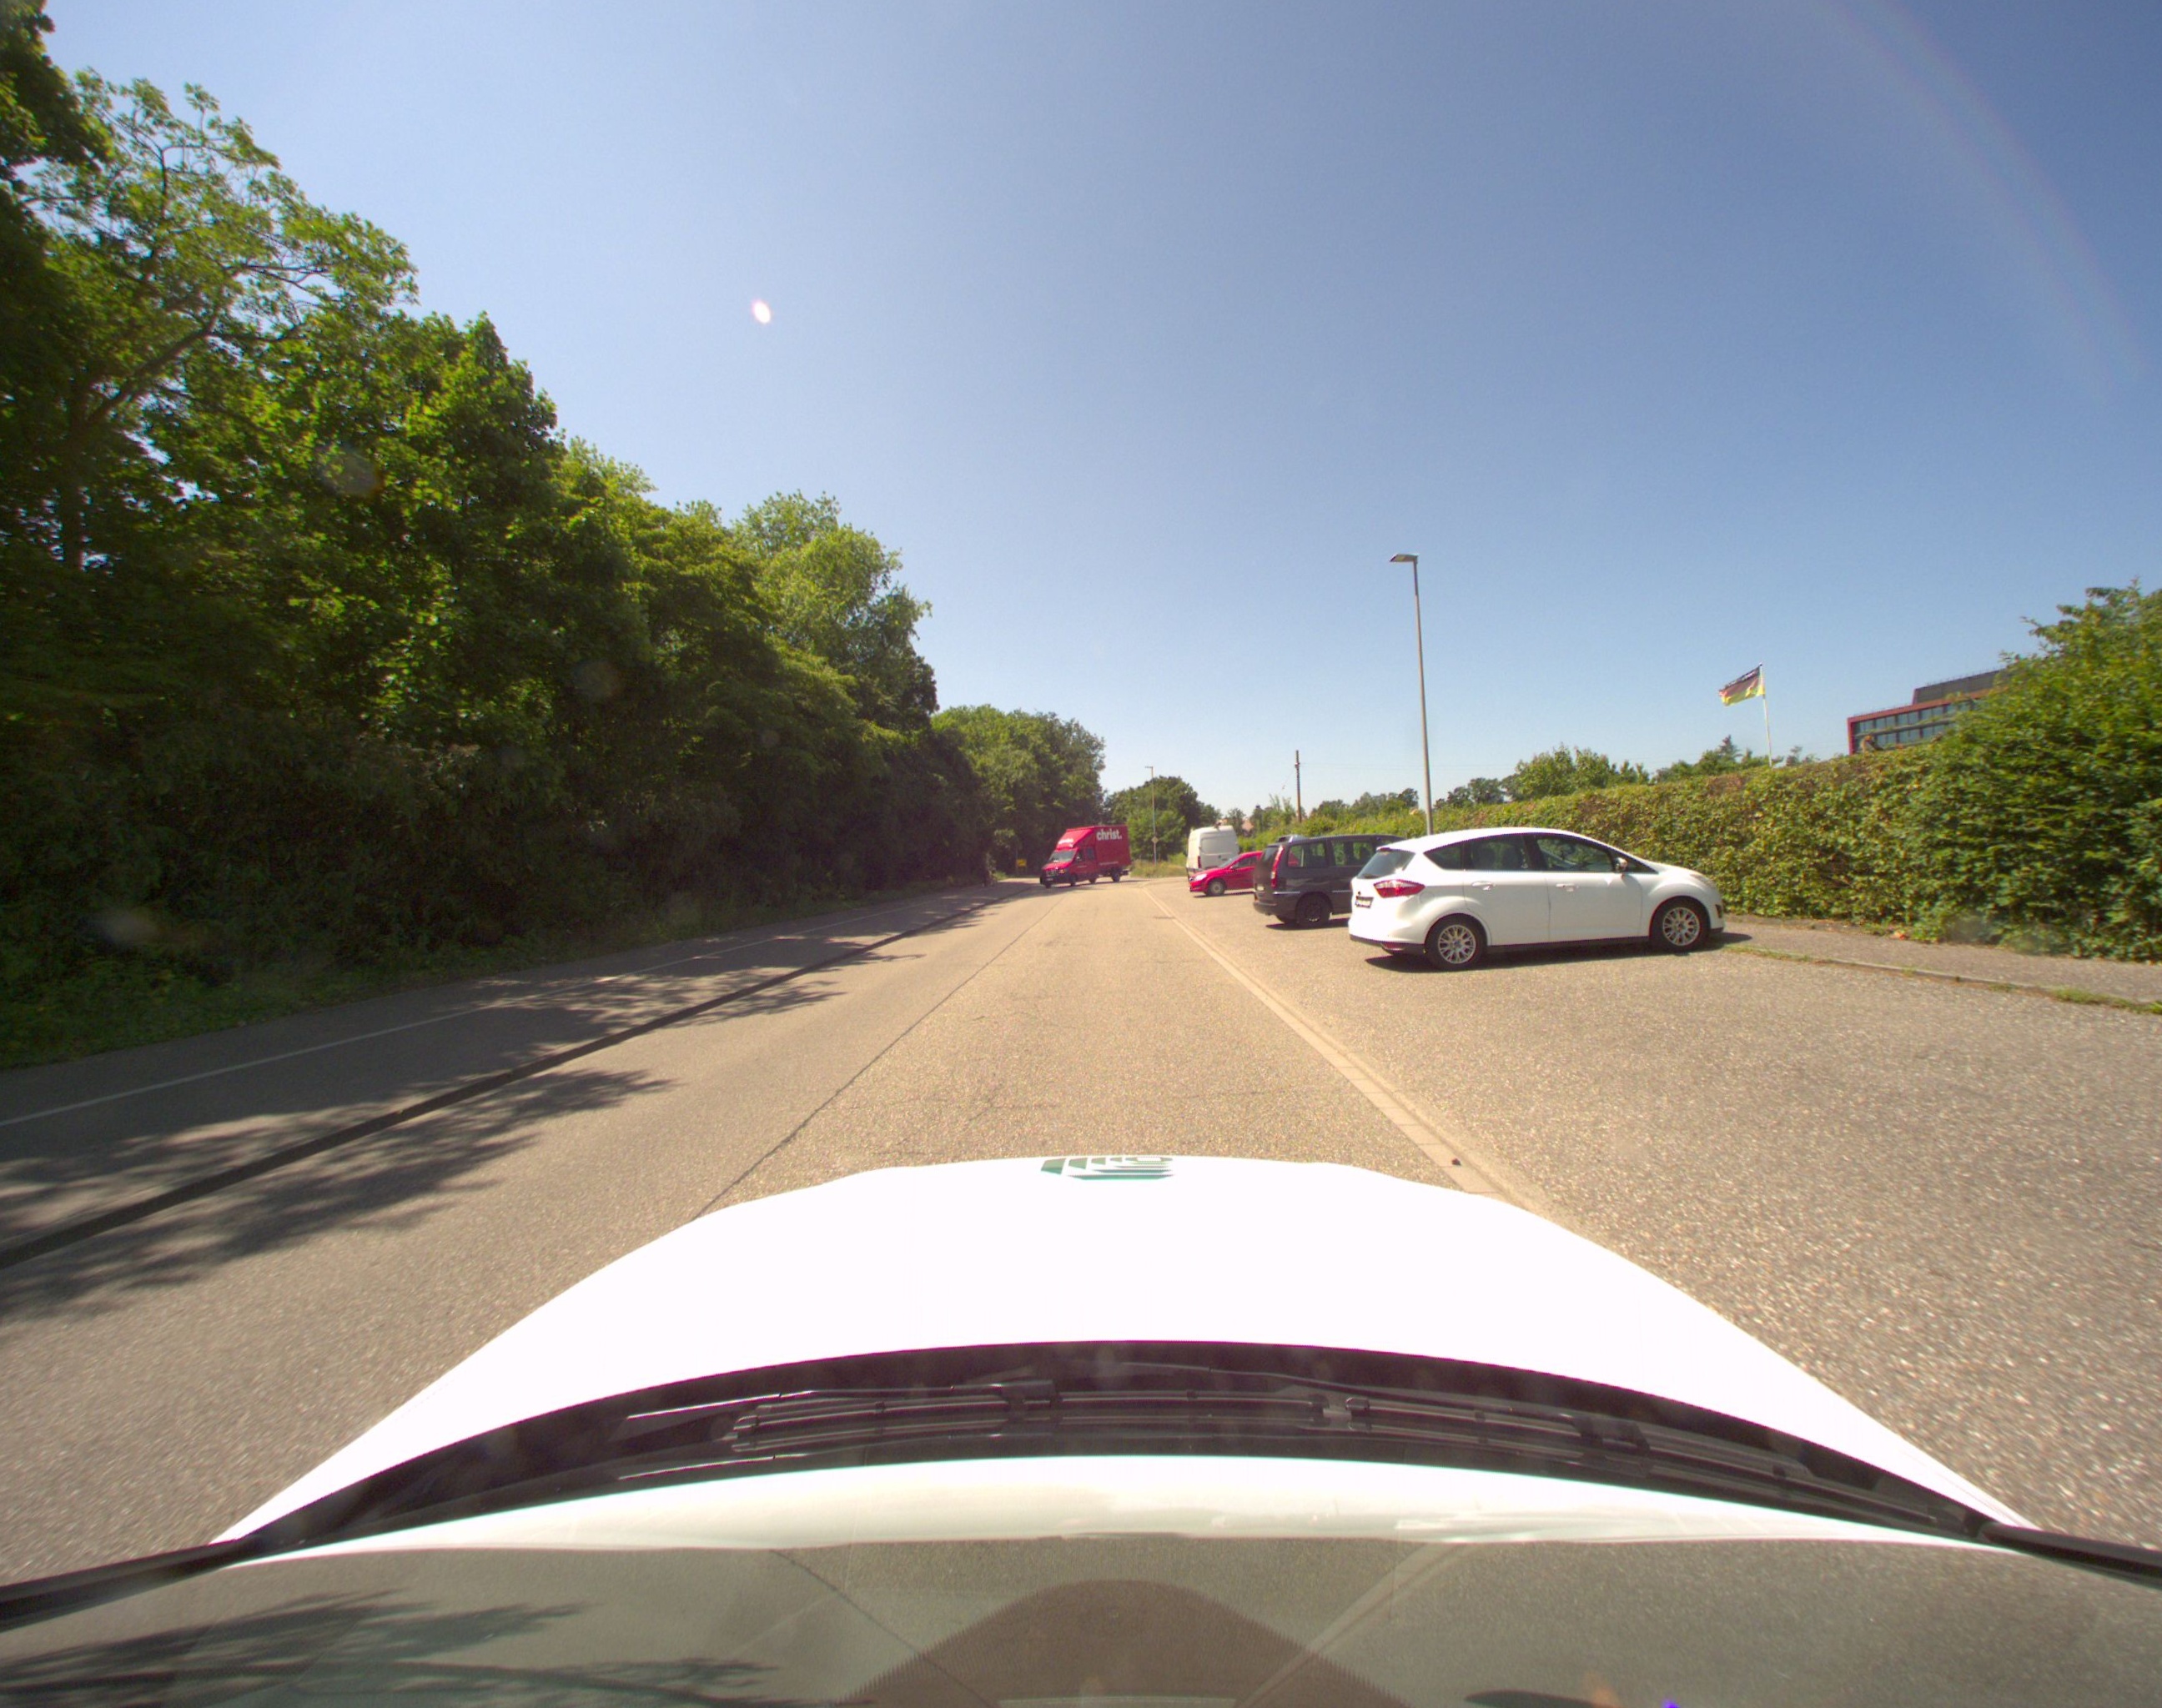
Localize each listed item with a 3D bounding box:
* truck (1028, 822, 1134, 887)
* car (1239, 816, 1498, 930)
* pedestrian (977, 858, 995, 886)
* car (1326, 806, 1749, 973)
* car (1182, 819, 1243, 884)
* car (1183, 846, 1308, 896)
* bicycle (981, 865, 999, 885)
[{"bbox_3d":[0.154,-0.066,48.670,2.300,3.440,7.208,-3,1,37],"label":"truck"},{"bbox_3d":[5.681,0.365,16.483,4.443,1.805,1.950,-5,-1,-3],"label":"car"},{"bbox_3d":[-6.151,1.158,52.724,0.802,1.718,0.780,-2,-1,17],"label":"pedestrian"},{"bbox_3d":[5.524,0.405,10.248,4.263,1.578,1.765,-5,0,-1],"label":"car"},{"bbox_3d":[6.279,-0.125,39.819,1.946,2.733,7.172,-5,0,3],"label":"car"},{"bbox_3d":[5.851,0.599,29.326,4.043,1.434,1.835,-5,0,-2],"label":"car"},{"bbox_3d":[-5.854,1.360,52.598,0.517,1.236,1.968,-1,-1,14],"label":"bicycle"}]
